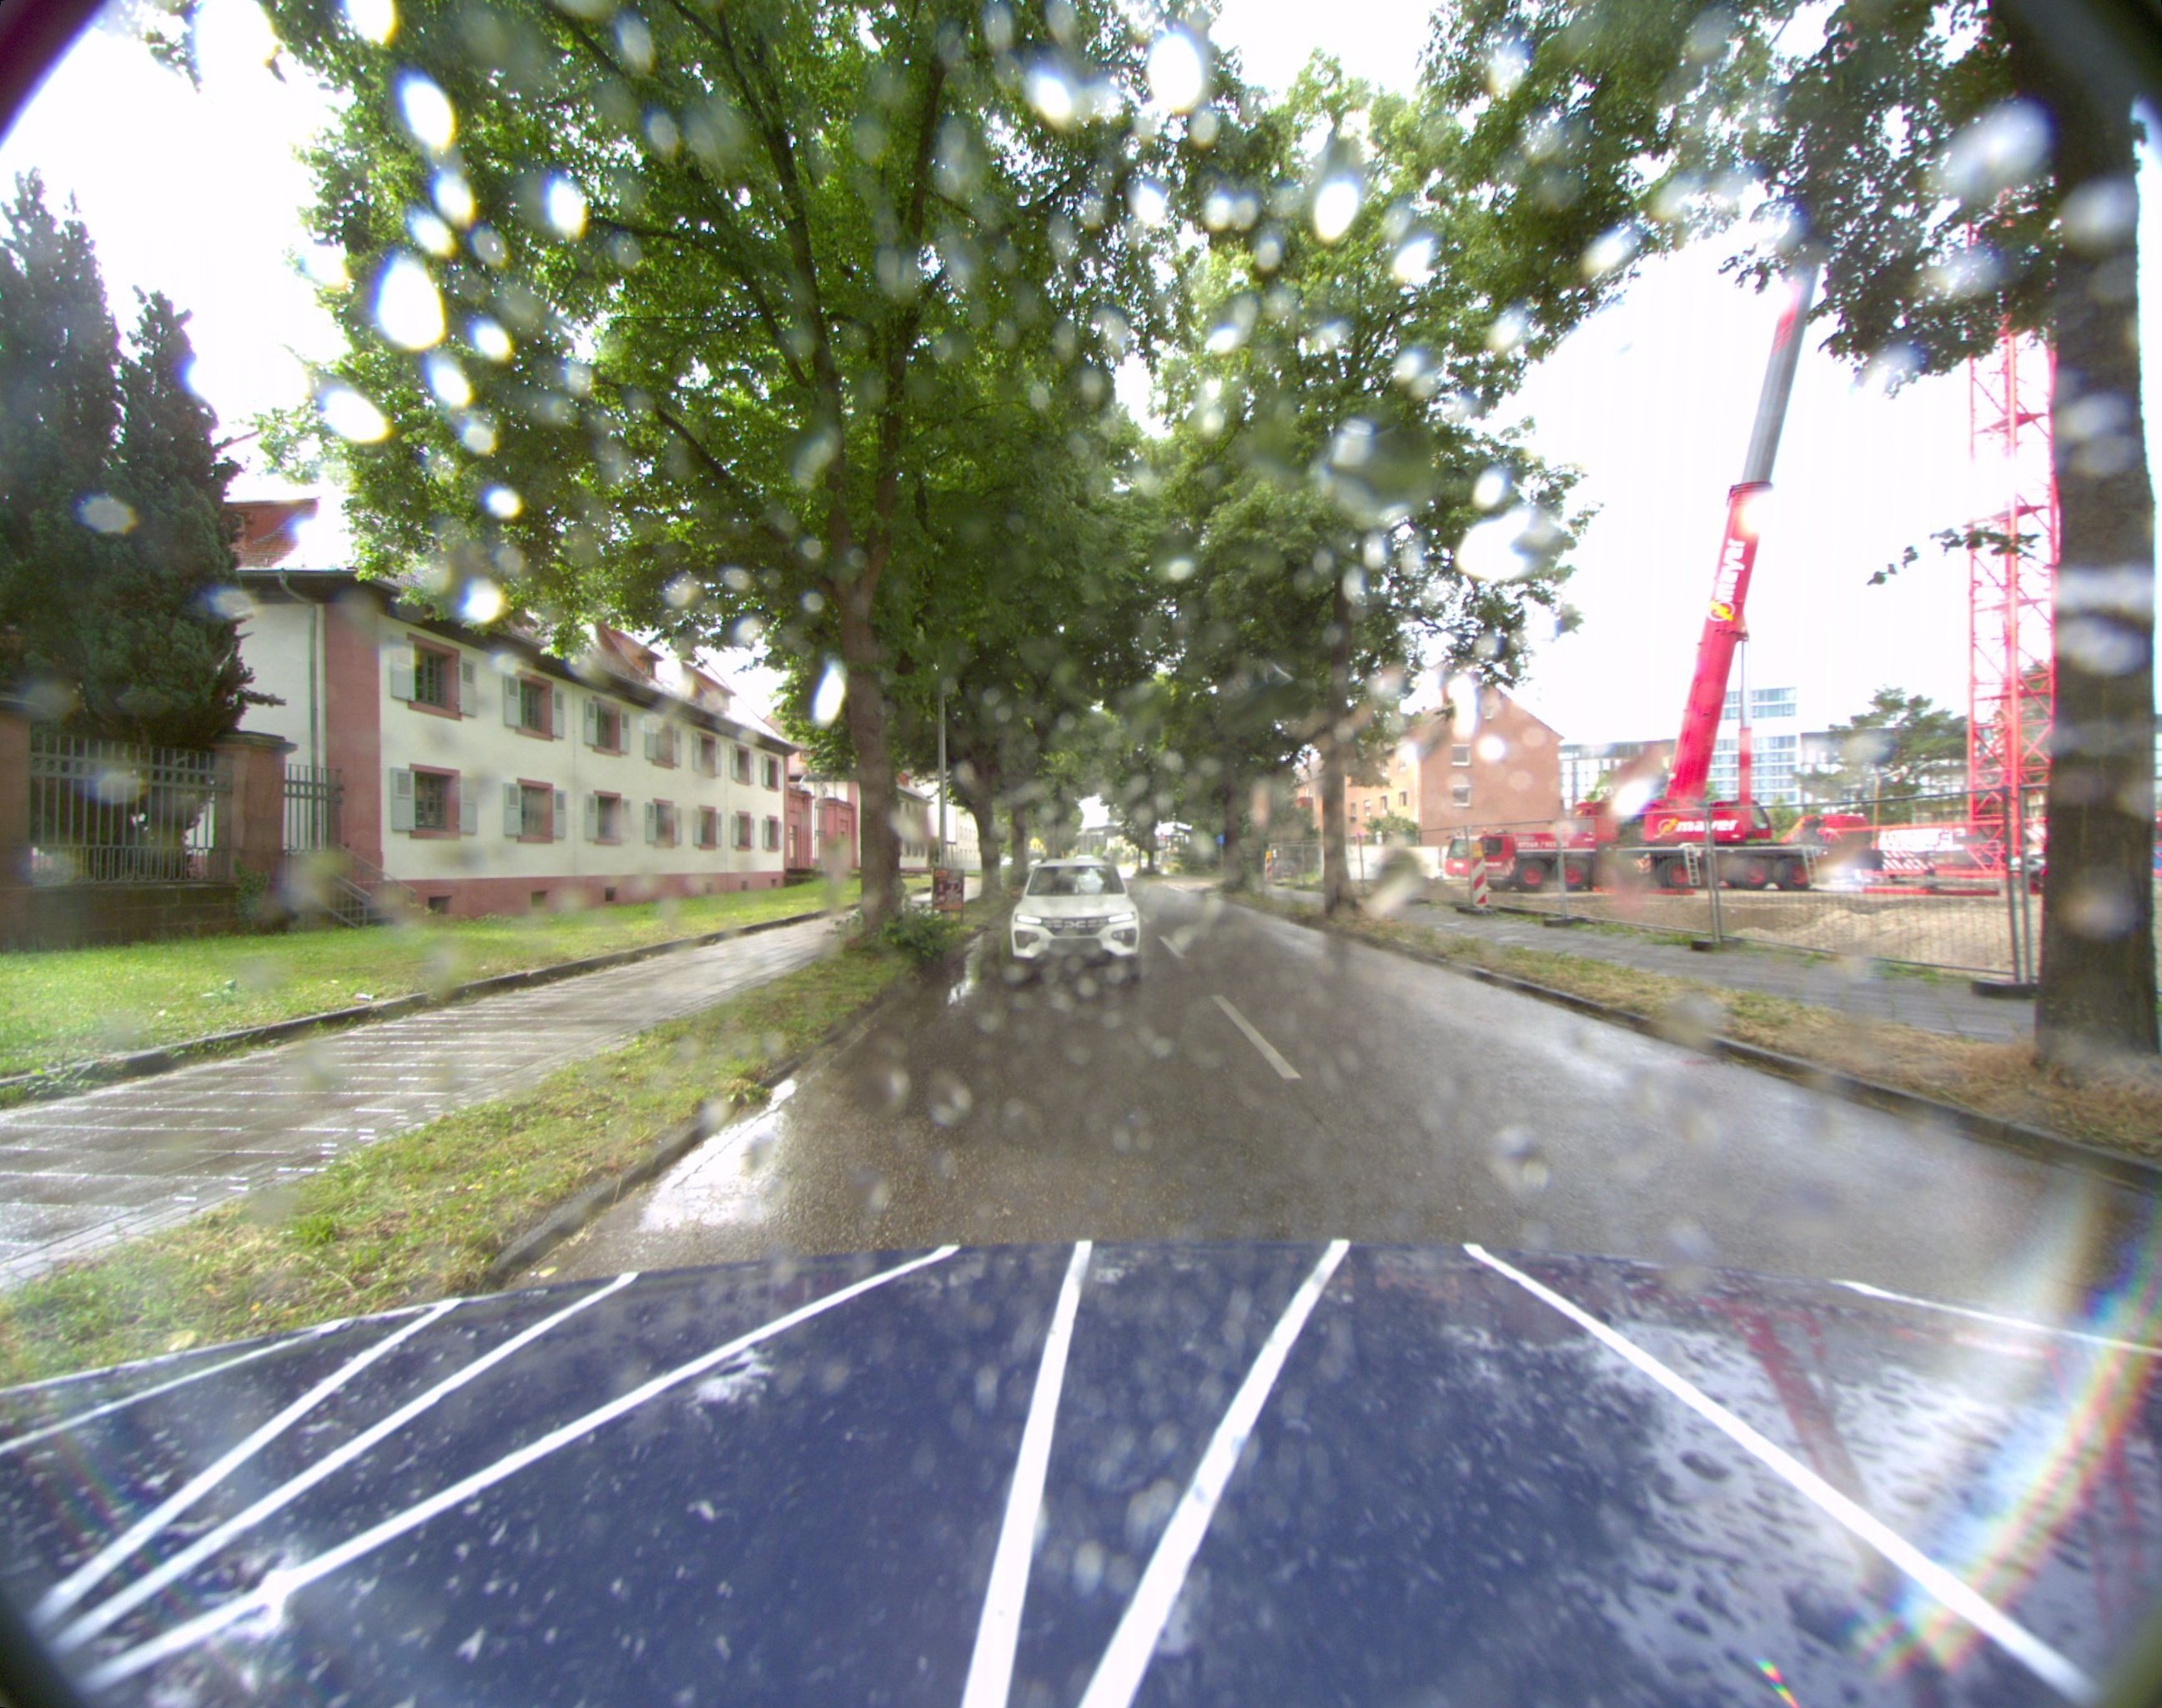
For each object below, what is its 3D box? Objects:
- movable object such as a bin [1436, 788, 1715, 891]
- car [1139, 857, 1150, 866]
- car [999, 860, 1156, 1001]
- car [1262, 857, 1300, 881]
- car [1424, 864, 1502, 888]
[{"bbox_3d":[21.340,-0.574,33.318,9.834,4.091,3.367,-1,-1,3],"label":"movable object such as a bin"},{"bbox_3d":[12.346,1.524,147.028,1.891,1.703,4.230,0,0,1],"label":"car"},{"bbox_3d":[-0.105,0.873,10.382,1.737,1.525,3.616,-2,0,-2],"label":"car"},{"bbox_3d":[13.593,0.980,51.770,1.628,1.412,3.869,-2,1,2],"label":"car"},{"bbox_3d":[23.481,1.320,46.710,4.067,1.405,1.726,0,0,-11],"label":"car"}]
